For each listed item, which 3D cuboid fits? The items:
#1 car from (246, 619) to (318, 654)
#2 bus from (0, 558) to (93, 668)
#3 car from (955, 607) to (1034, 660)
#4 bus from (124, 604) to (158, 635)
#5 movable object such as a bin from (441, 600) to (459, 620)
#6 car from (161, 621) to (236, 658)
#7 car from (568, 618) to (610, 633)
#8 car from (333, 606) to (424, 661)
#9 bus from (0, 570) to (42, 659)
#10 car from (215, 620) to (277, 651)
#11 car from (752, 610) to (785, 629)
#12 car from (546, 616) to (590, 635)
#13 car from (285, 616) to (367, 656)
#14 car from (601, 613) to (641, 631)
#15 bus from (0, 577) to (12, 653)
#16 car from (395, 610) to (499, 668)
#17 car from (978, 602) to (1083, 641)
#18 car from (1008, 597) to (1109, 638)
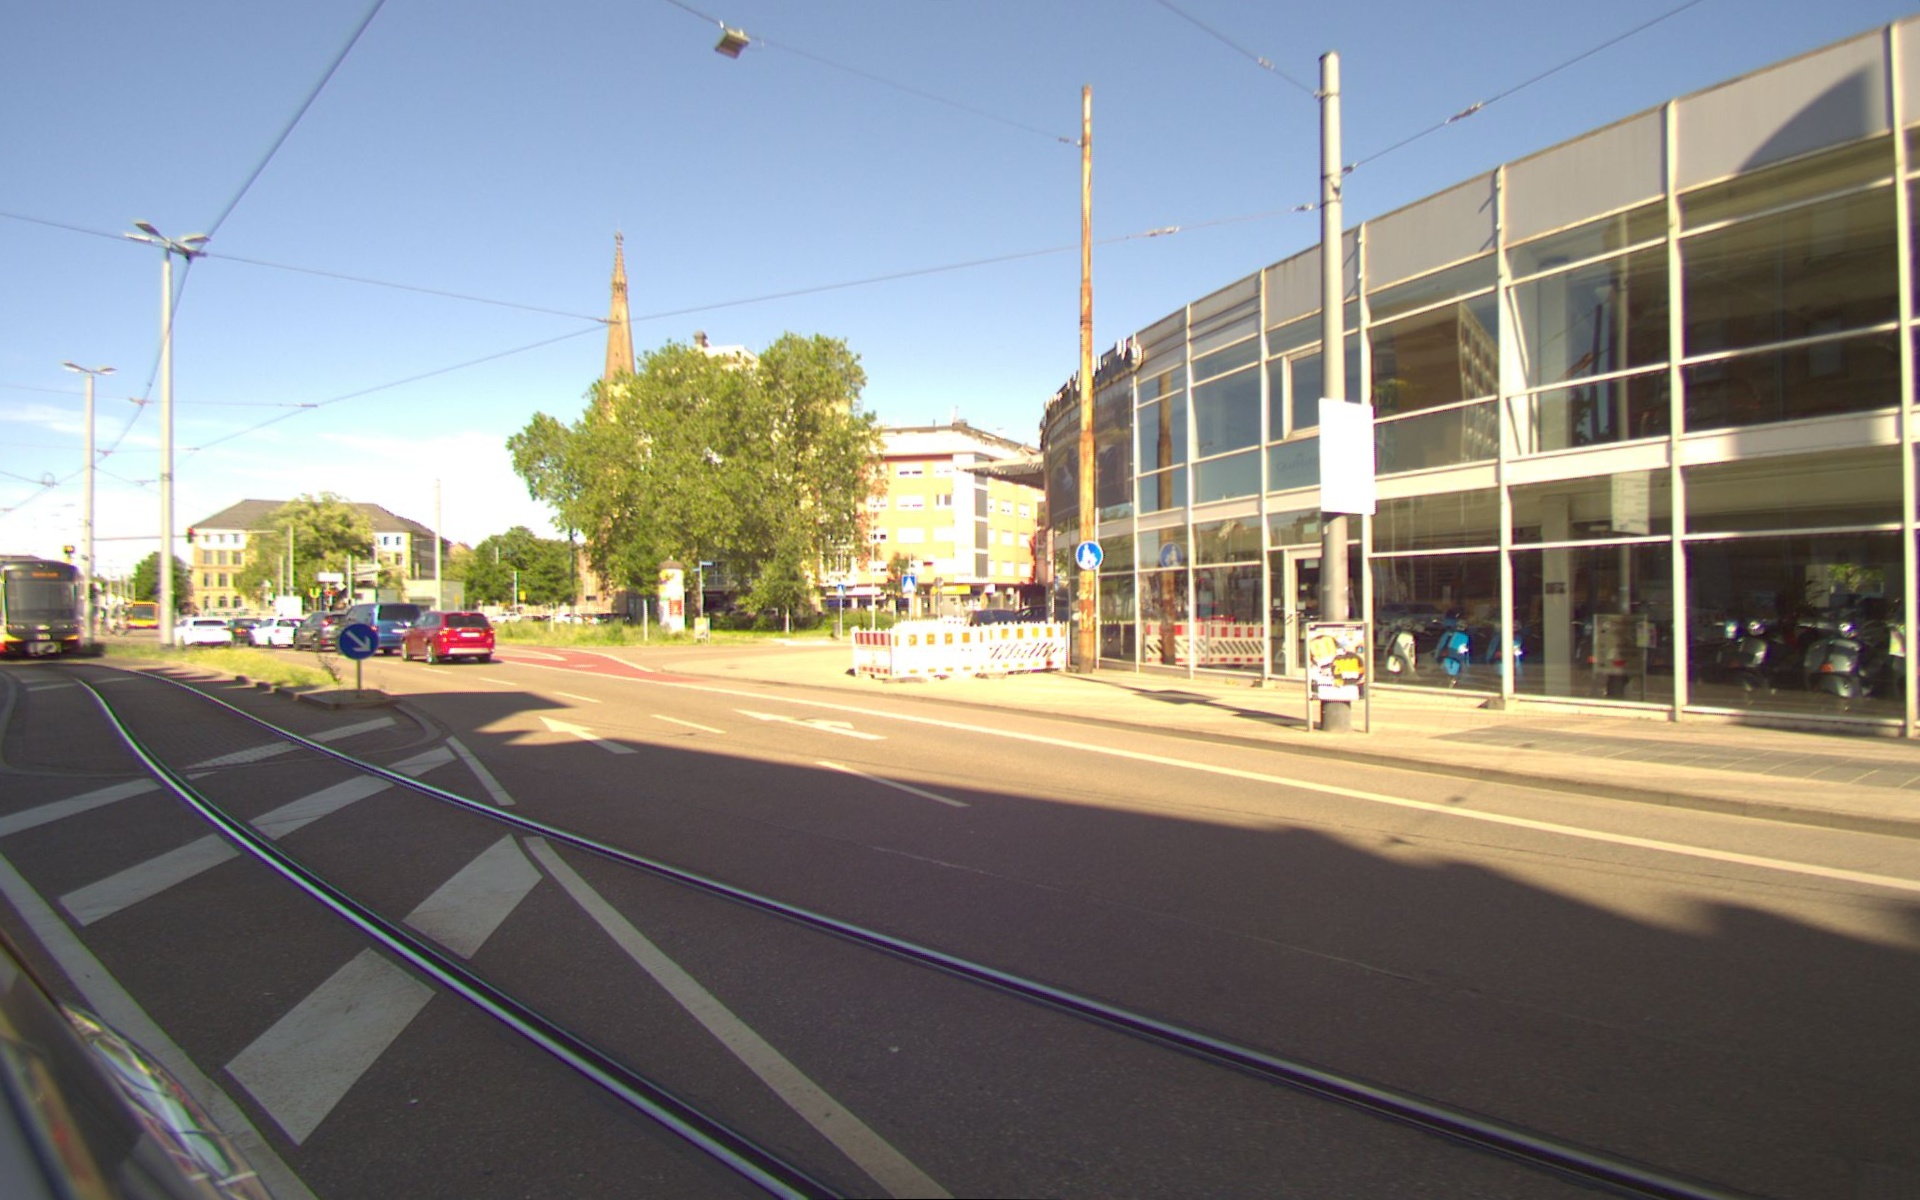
[{"bbox_3d":[-31.398,1.637,46.853,3.998,1.443,1.784,0,1,41],"label":"car"},{"bbox_3d":[-35.217,0.511,37.641,11.263,3.617,2.812,-1,0,41],"label":"bus"},{"bbox_3d":[1.039,1.061,32.617,1.730,1.548,4.008,-2,-1,-9],"label":"car"},{"bbox_3d":[-96.284,2.220,119.095,2.805,3.144,11.845,-2,3,-38],"label":"bus"},{"bbox_3d":[-42.664,0.851,84.665,0.926,1.646,0.989,-1,1,7],"label":"movable object such as a bin"},{"bbox_3d":[-34.023,1.721,45.168,4.539,1.443,1.784,0,1,41],"label":"car"},{"bbox_3d":[-39.887,2.738,108.888,3.932,1.370,1.823,-2,1,-31],"label":"car"},{"bbox_3d":[-21.651,1.199,37.611,4.165,1.948,1.783,0,-1,43],"label":"car"},{"bbox_3d":[-43.136,0.681,44.572,10.721,3.617,2.811,-1,0,41],"label":"bus"},{"bbox_3d":[-35.589,1.740,50.396,3.969,1.490,1.632,-1,-2,41],"label":"car"},{"bbox_3d":[-16.537,1.678,87.500,1.973,1.510,3.997,-1,-1,2],"label":"car"},{"bbox_3d":[-40.757,2.636,105.209,3.932,1.765,2.006,-2,1,-31],"label":"car"},{"bbox_3d":[-26.444,1.454,42.188,4.163,1.590,1.784,0,-1,41],"label":"car"},{"bbox_3d":[-30.422,1.977,90.805,1.723,1.510,3.988,-1,-1,10],"label":"car"},{"bbox_3d":[-51.422,0.823,51.653,13.484,3.617,2.812,-1,0,40],"label":"bus"},{"bbox_3d":[-16.529,1.200,32.496,1.778,1.732,4.420,1,-1,-44],"label":"car"},{"bbox_3d":[3.077,0.945,44.207,4.188,1.411,1.740,-5,-3,31],"label":"car"},{"bbox_3d":[4.503,0.822,46.455,4.188,1.576,1.740,-5,-3,31],"label":"car"}]
